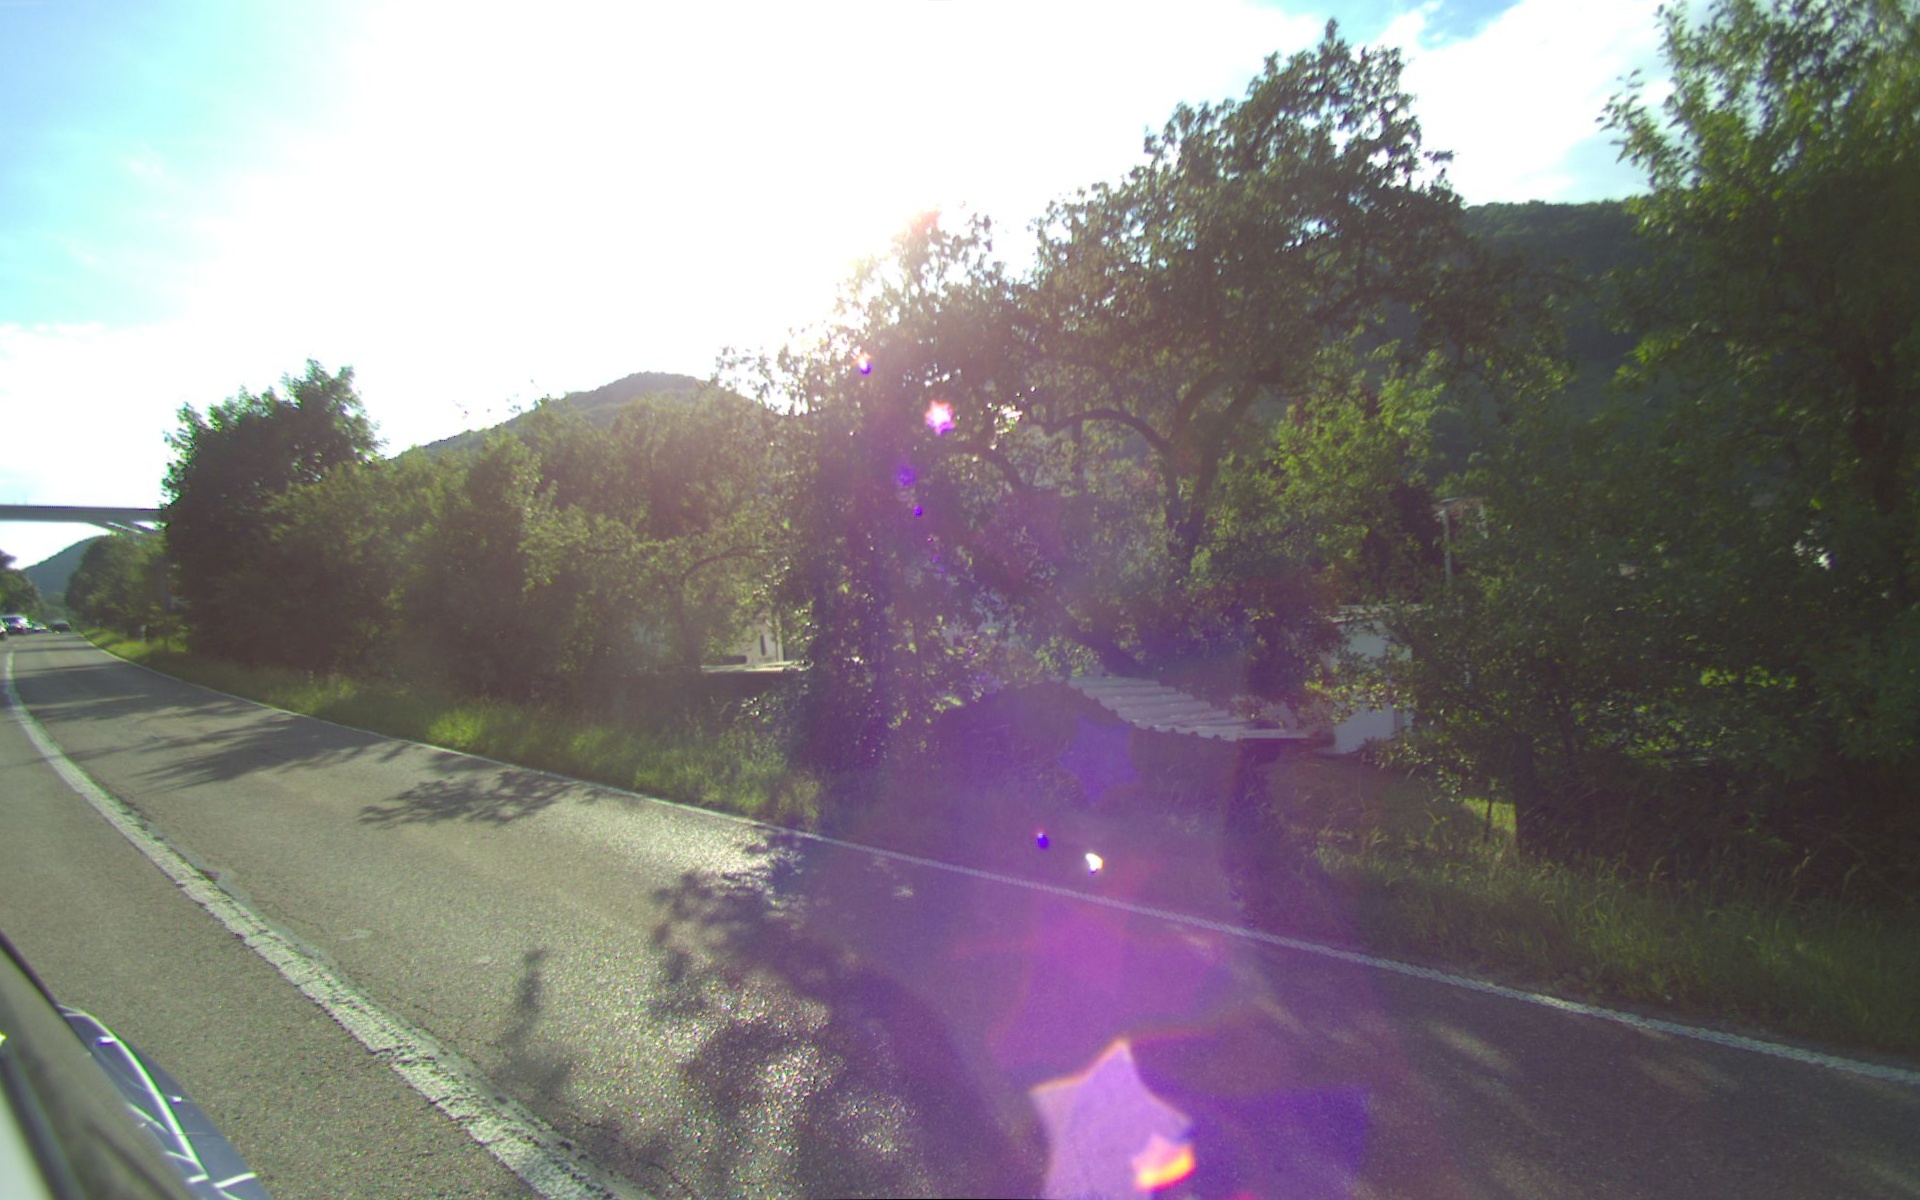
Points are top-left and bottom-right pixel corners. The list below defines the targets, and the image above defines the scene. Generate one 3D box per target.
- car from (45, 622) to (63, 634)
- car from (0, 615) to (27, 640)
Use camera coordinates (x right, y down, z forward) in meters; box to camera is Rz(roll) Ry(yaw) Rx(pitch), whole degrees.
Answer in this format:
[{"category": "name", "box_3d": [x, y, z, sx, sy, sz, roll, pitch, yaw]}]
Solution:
[{"category": "car", "box_3d": [-109.854, 3.429, 122.713, 1.575, 1.364, 4.208, -1, 0, -42]}, {"category": "car", "box_3d": [-79.899, 2.275, 85.183, 1.970, 2.029, 4.003, -1, 0, -44]}]
